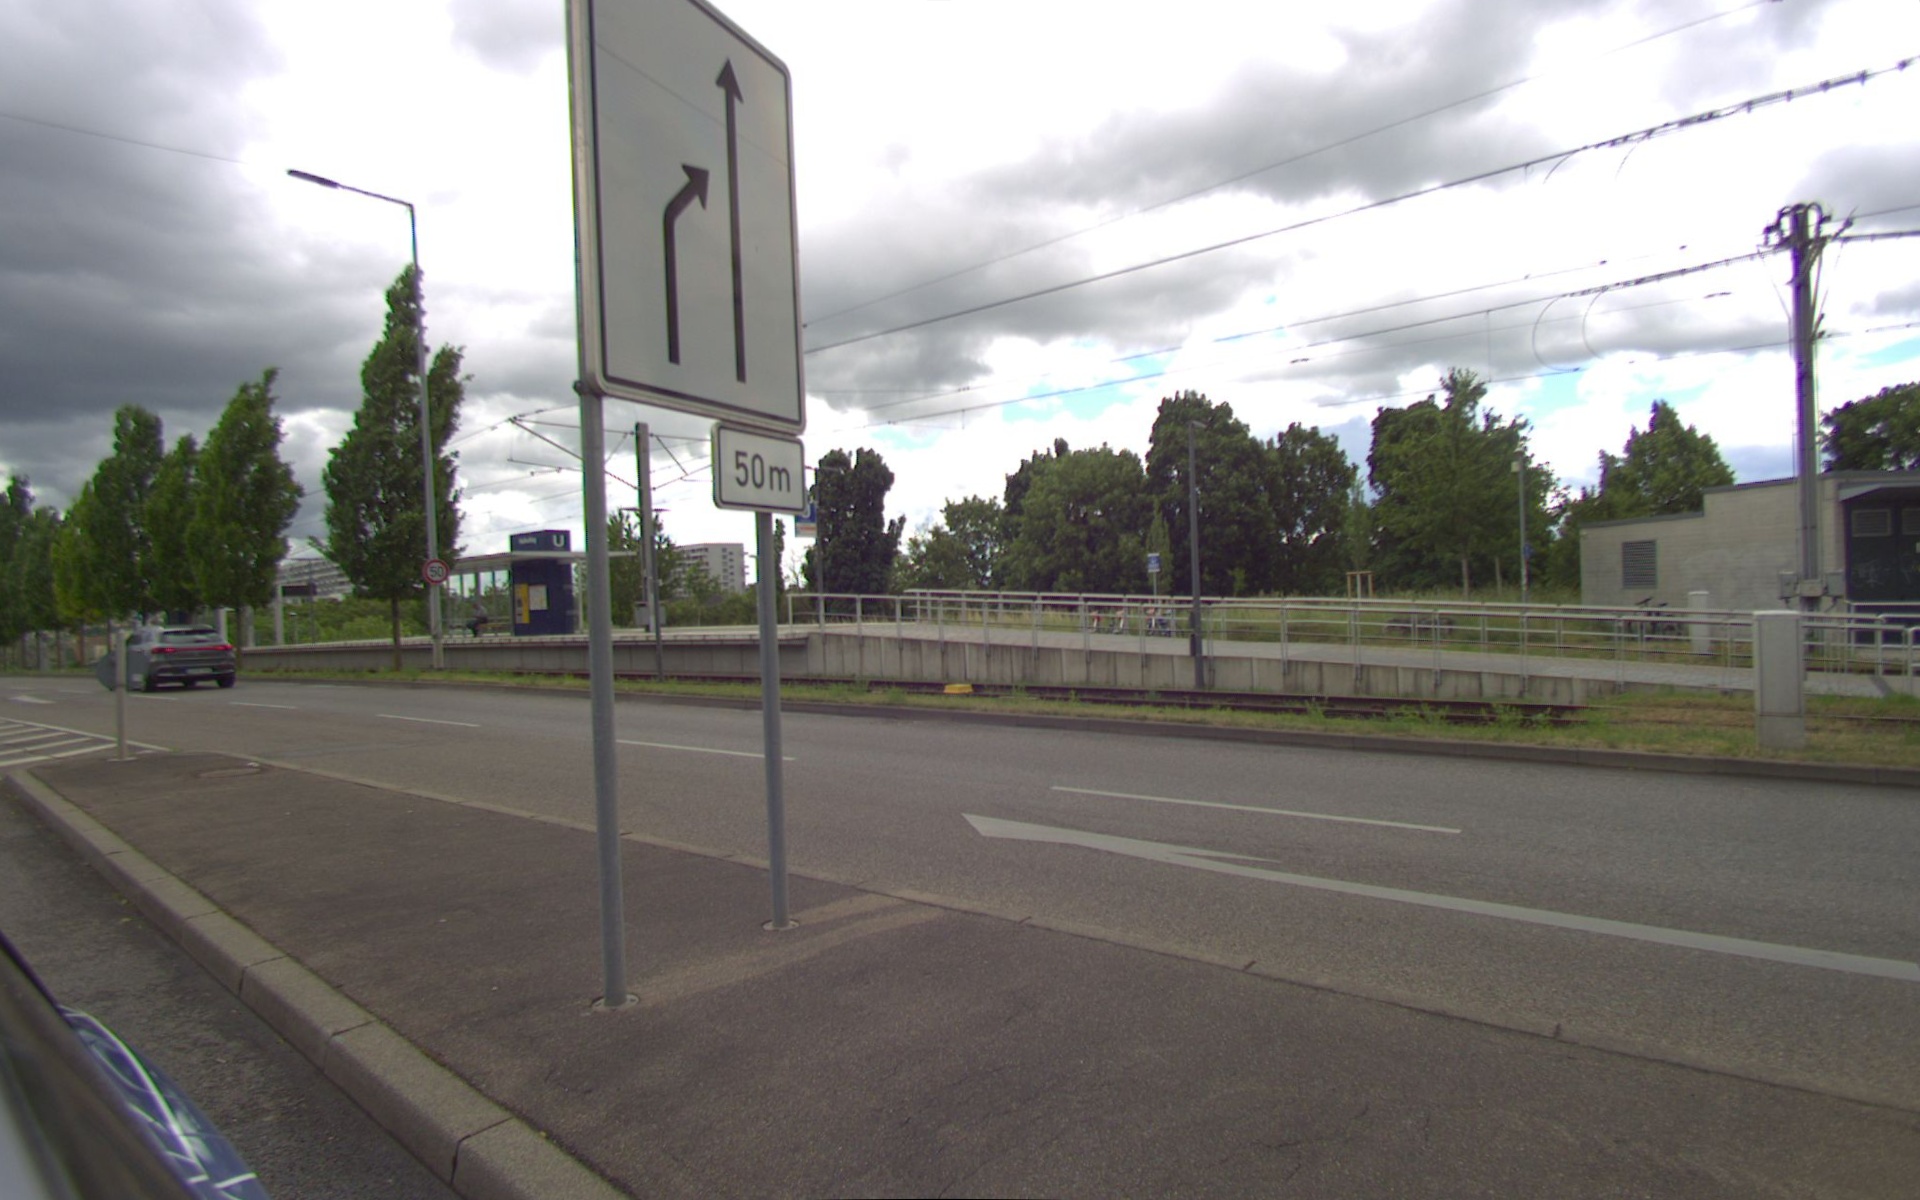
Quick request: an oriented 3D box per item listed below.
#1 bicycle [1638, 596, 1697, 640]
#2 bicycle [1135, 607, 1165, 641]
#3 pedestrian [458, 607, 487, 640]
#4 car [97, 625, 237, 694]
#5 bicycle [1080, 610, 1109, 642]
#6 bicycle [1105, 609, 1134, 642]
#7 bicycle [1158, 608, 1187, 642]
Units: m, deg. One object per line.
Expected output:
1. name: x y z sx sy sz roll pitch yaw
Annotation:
1. bicycle: 18.191 0.456 26.051 0.486 1.095 1.480 -1 -1 3
2. bicycle: 6.376 0.787 33.940 0.490 1.095 1.466 -2 -1 30
3. pedestrian: -18.254 0.877 37.865 0.781 1.211 0.656 -2 -1 33
4. car: -20.029 1.441 25.510 4.218 1.558 1.761 -2 -1 37
5. bicycle: 4.679 0.893 35.153 0.490 1.095 1.466 -2 -1 30
6. bicycle: 5.436 0.866 34.451 0.490 1.095 1.466 -2 -1 30
7. bicycle: 7.042 0.814 33.460 0.490 1.095 1.466 -2 -1 30
